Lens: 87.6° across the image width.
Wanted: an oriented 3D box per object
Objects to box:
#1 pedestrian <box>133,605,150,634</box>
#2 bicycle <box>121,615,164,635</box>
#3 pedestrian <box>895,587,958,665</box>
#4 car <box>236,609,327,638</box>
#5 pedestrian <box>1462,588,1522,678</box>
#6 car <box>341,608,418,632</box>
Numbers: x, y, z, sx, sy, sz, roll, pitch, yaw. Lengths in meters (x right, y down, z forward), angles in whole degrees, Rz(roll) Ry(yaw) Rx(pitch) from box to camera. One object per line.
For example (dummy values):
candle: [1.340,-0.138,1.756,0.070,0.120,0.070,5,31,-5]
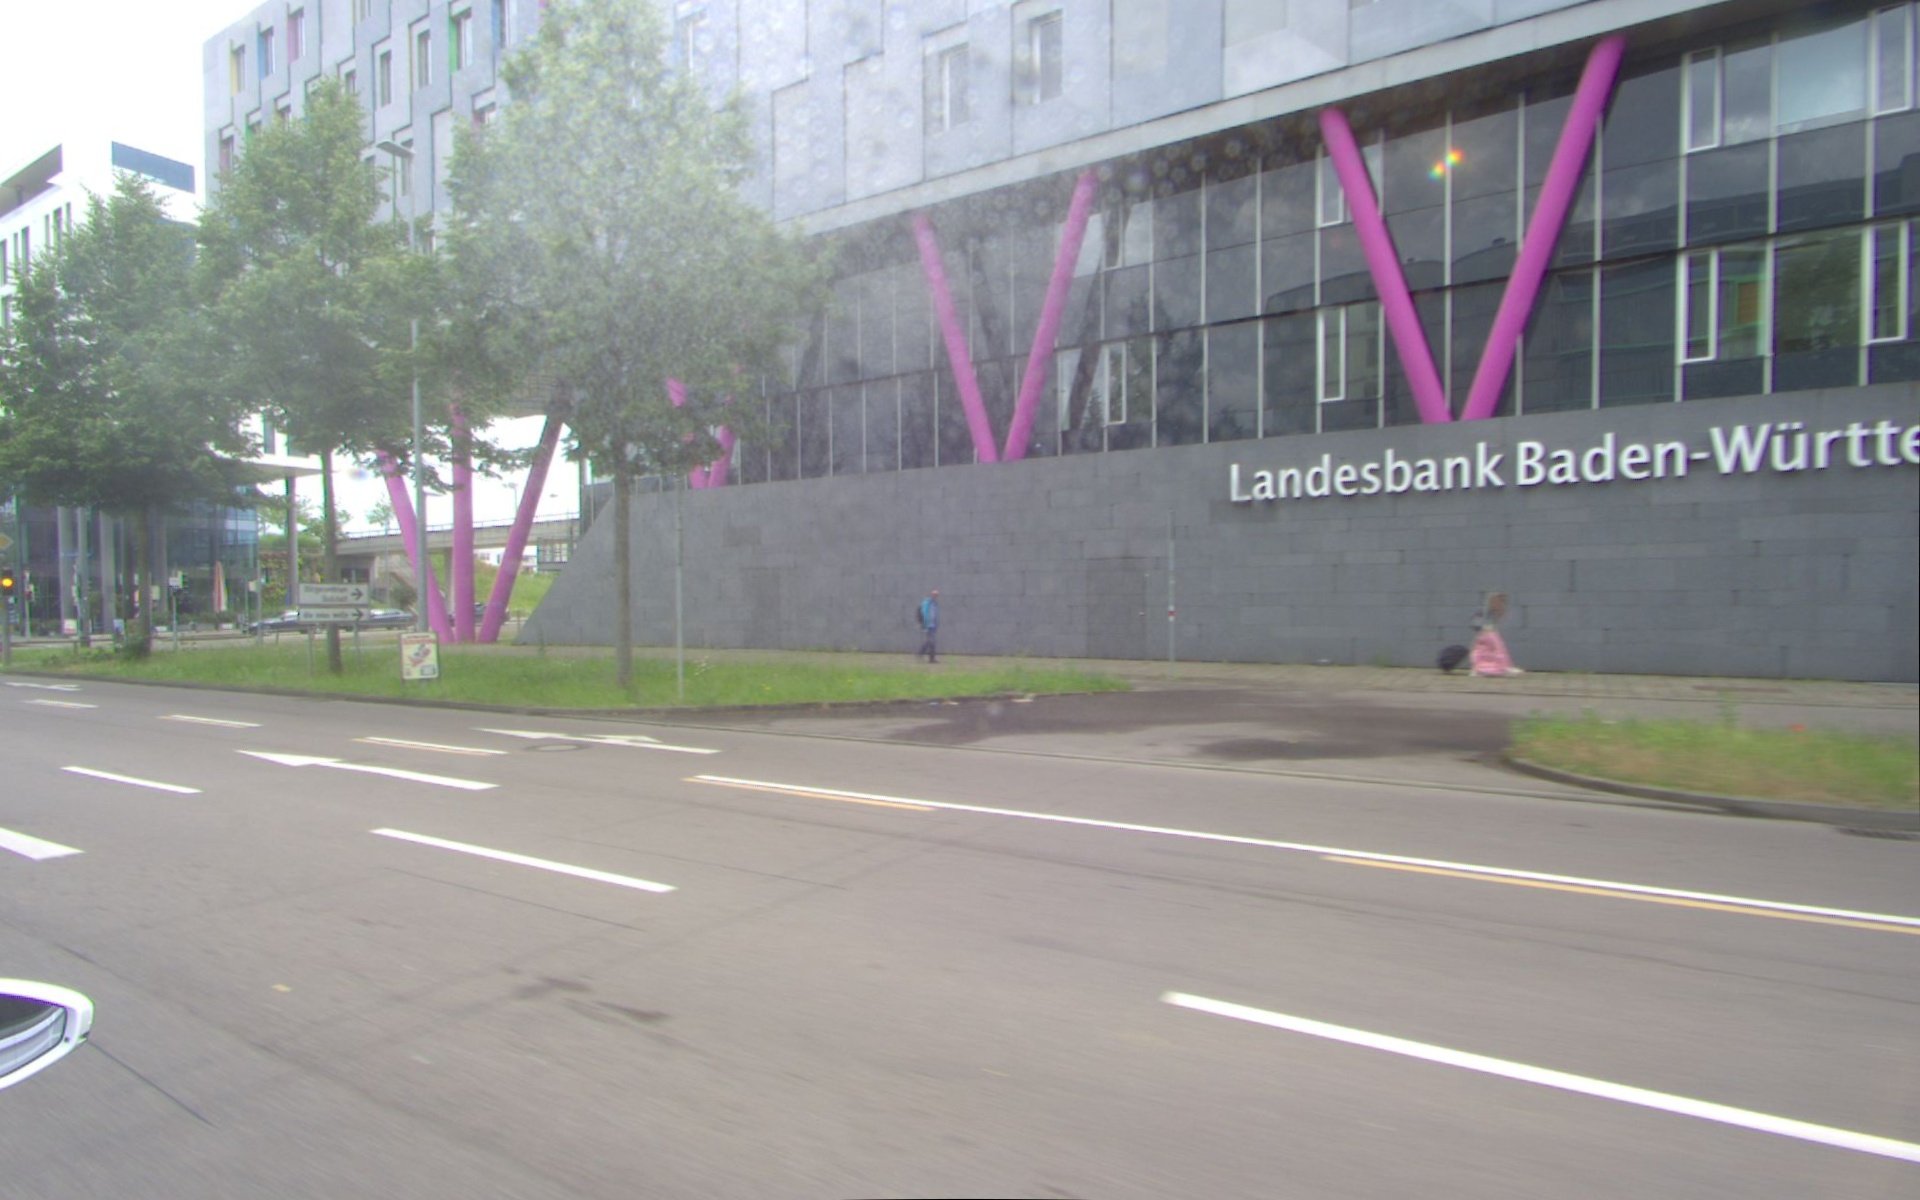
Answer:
pedestrian: [-46.260,1.118,56.600,0.610,1.625,0.613,0,1,34]
bicycle: [-46.242,1.385,56.632,0.609,1.100,1.787,0,0,34]
pedestrian: [-0.791,0.597,23.854,1.120,1.794,1.049,1,1,33]
car: [-41.310,1.387,61.025,1.733,1.636,4.240,0,0,34]
pedestrian: [9.788,0.585,18.409,0.902,1.604,0.782,1,1,33]
car: [-38.374,1.311,66.297,1.733,1.474,4.070,0,0,34]
